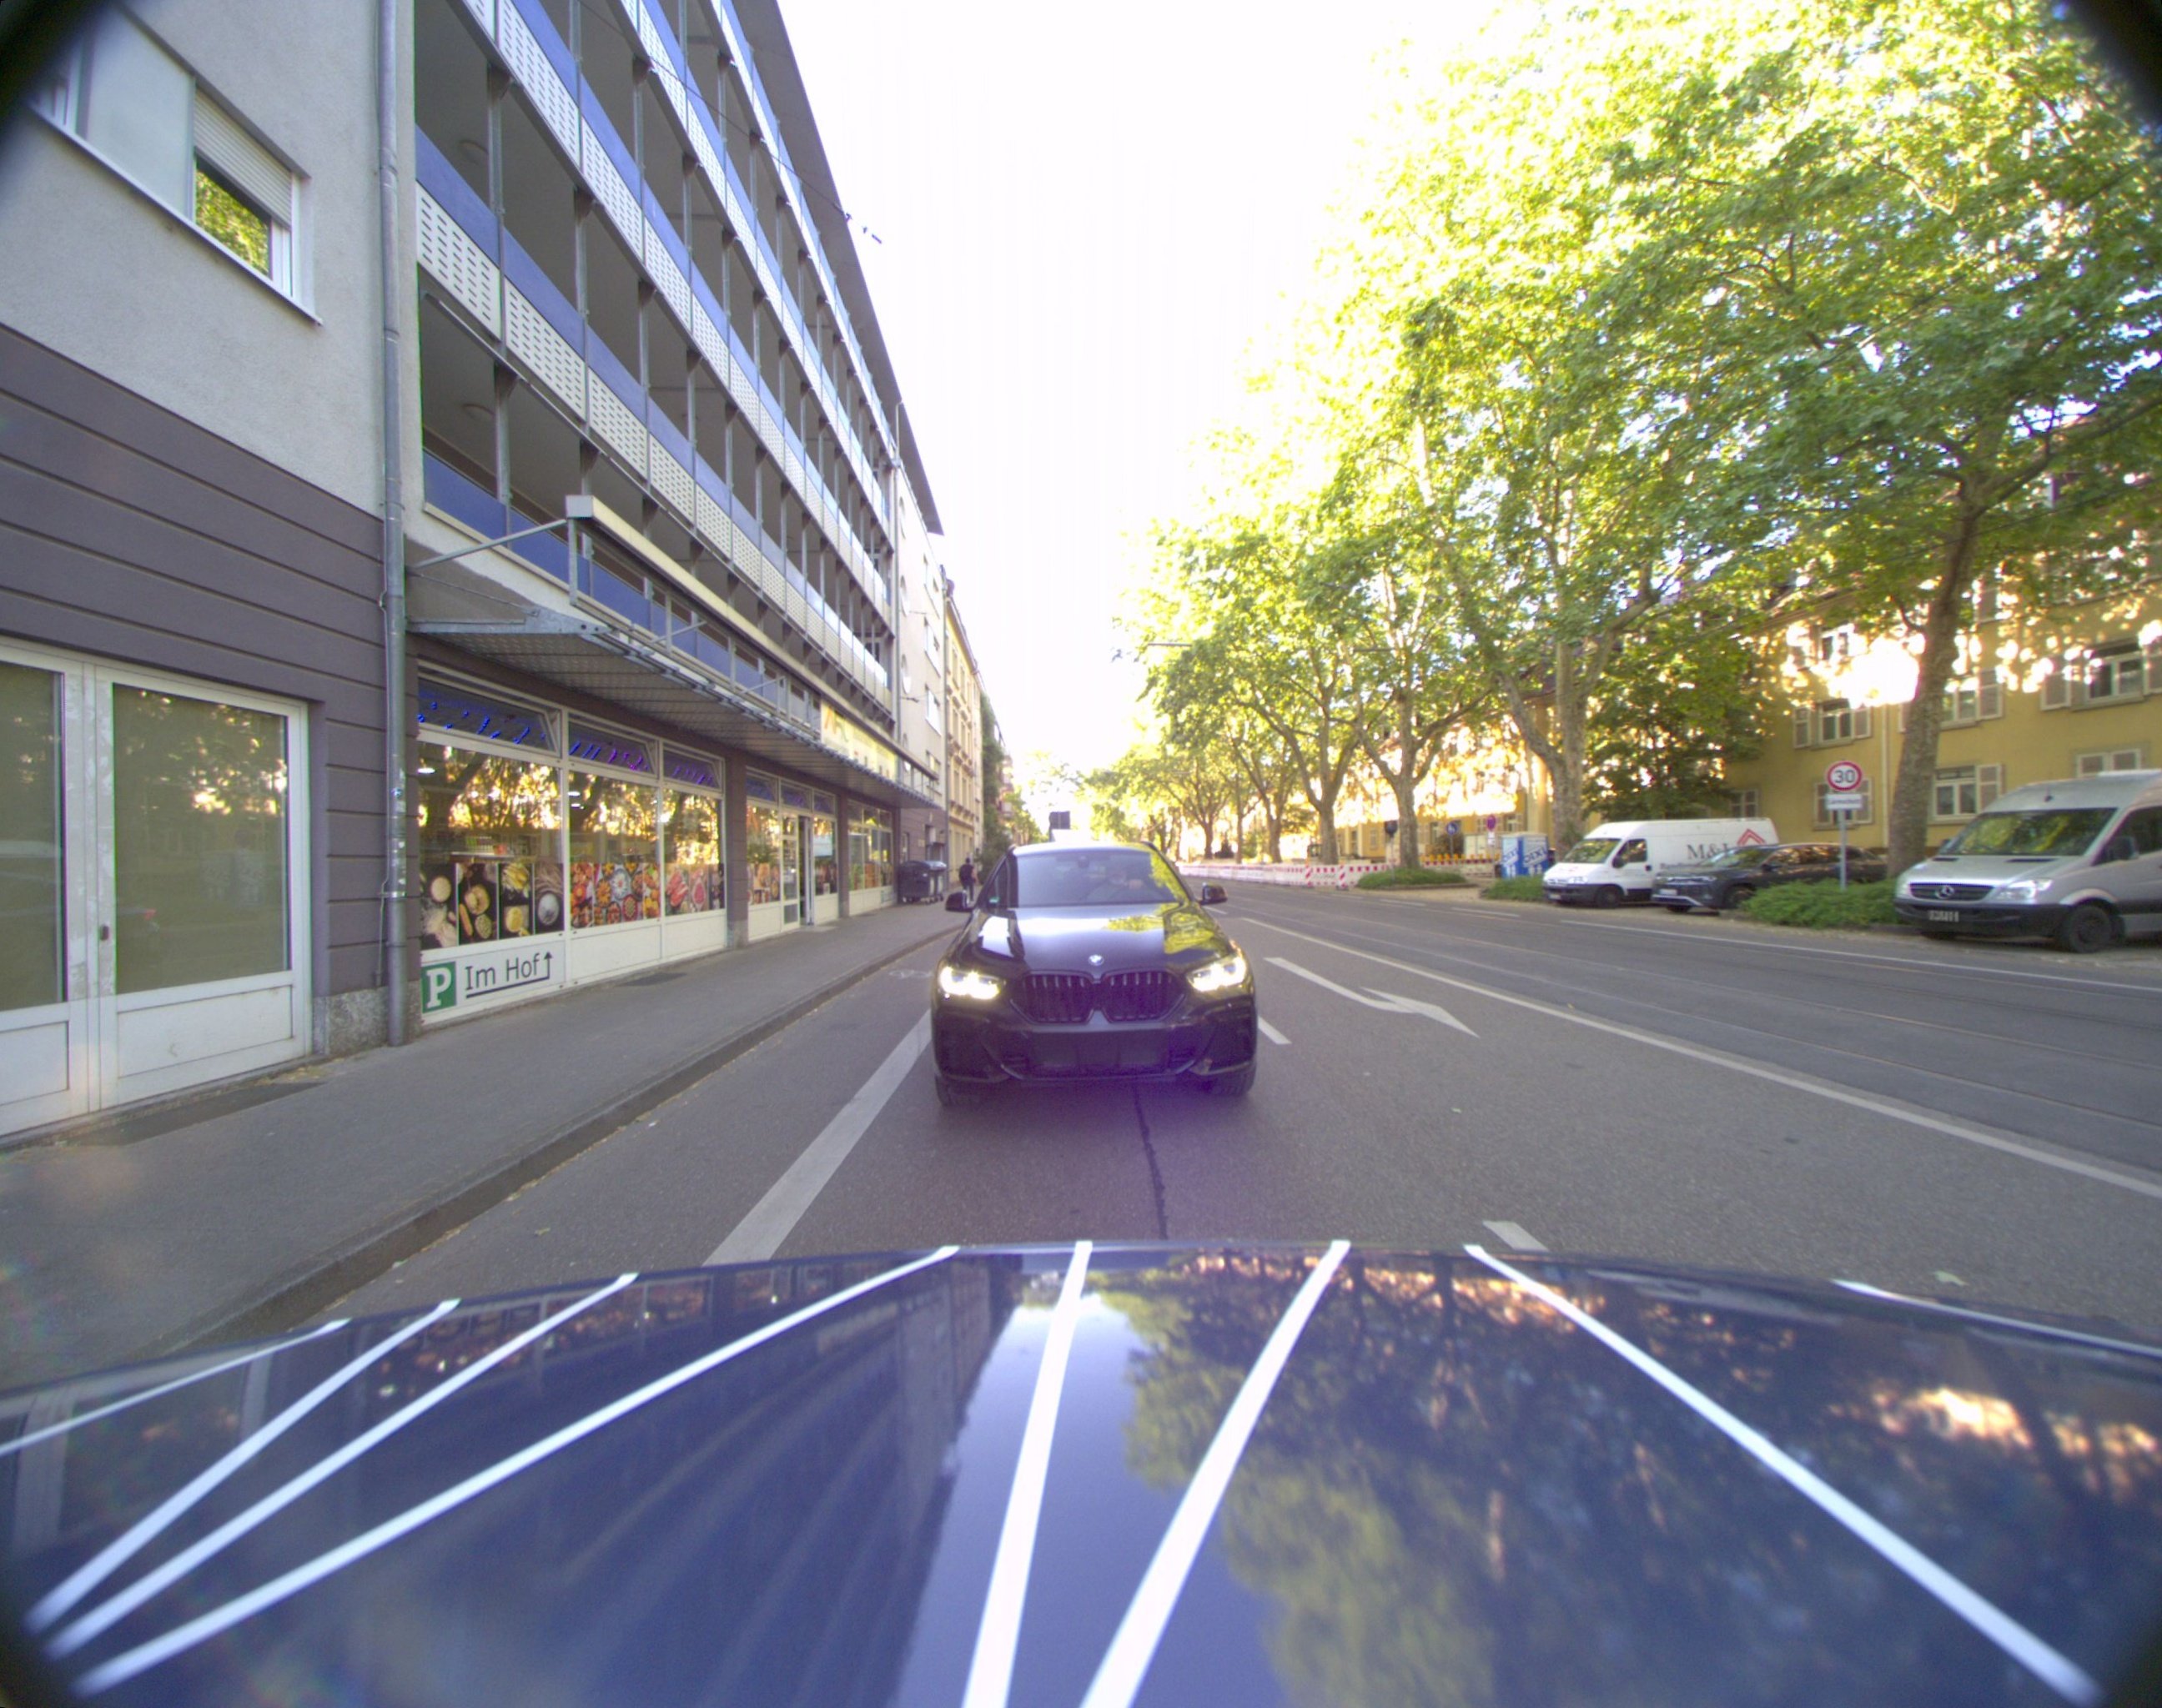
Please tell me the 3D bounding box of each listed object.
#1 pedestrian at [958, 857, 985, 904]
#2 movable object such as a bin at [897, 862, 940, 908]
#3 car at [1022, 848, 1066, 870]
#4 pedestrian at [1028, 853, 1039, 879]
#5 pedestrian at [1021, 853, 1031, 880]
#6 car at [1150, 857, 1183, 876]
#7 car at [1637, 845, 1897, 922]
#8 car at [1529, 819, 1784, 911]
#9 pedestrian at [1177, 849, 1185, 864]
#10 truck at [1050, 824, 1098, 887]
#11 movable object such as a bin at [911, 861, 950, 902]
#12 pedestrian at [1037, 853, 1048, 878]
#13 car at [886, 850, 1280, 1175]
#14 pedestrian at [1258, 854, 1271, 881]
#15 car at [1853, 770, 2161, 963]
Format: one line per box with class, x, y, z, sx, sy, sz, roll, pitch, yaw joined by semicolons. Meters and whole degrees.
pedestrian;-3.709;0.884;25.826;0.864;1.582;0.622;-1;0;-5
movable object such as a bin;-5.269;0.996;24.658;1.158;1.418;0.939;-1;0;1
car;-4.633;0.570;94.644;4.992;2.593;2.180;-1;0;-18
pedestrian;-3.626;0.906;57.842;0.733;1.875;0.664;-2;1;-1
pedestrian;-3.796;0.875;52.621;0.600;1.875;0.581;-2;1;-1
car;7.197;1.041;64.591;2.022;1.556;4.490;-1;0;-3
car;16.074;0.660;17.951;4.627;1.642;1.774;-1;0;-2
car;15.841;0.292;21.159;5.404;2.362;2.223;-1;0;0
pedestrian;12.561;0.298;95.575;0.666;1.875;0.731;-3;1;-36
truck;-0.319;0.121;42.133;2.394;3.170;6.587;-1;0;1
movable object such as a bin;-5.287;0.952;26.696;1.158;1.418;0.939;-1;0;1
pedestrian;-2.876;0.880;57.251;0.733;1.875;0.664;-2;1;-1
car;0.039;0.826;6.049;1.998;1.643;4.295;-1;0;1
pedestrian;12.128;0.910;50.325;0.650;1.735;0.584;-2;1;28
car;15.981;0.131;11.869;5.666;2.666;2.223;-2;0;-2
